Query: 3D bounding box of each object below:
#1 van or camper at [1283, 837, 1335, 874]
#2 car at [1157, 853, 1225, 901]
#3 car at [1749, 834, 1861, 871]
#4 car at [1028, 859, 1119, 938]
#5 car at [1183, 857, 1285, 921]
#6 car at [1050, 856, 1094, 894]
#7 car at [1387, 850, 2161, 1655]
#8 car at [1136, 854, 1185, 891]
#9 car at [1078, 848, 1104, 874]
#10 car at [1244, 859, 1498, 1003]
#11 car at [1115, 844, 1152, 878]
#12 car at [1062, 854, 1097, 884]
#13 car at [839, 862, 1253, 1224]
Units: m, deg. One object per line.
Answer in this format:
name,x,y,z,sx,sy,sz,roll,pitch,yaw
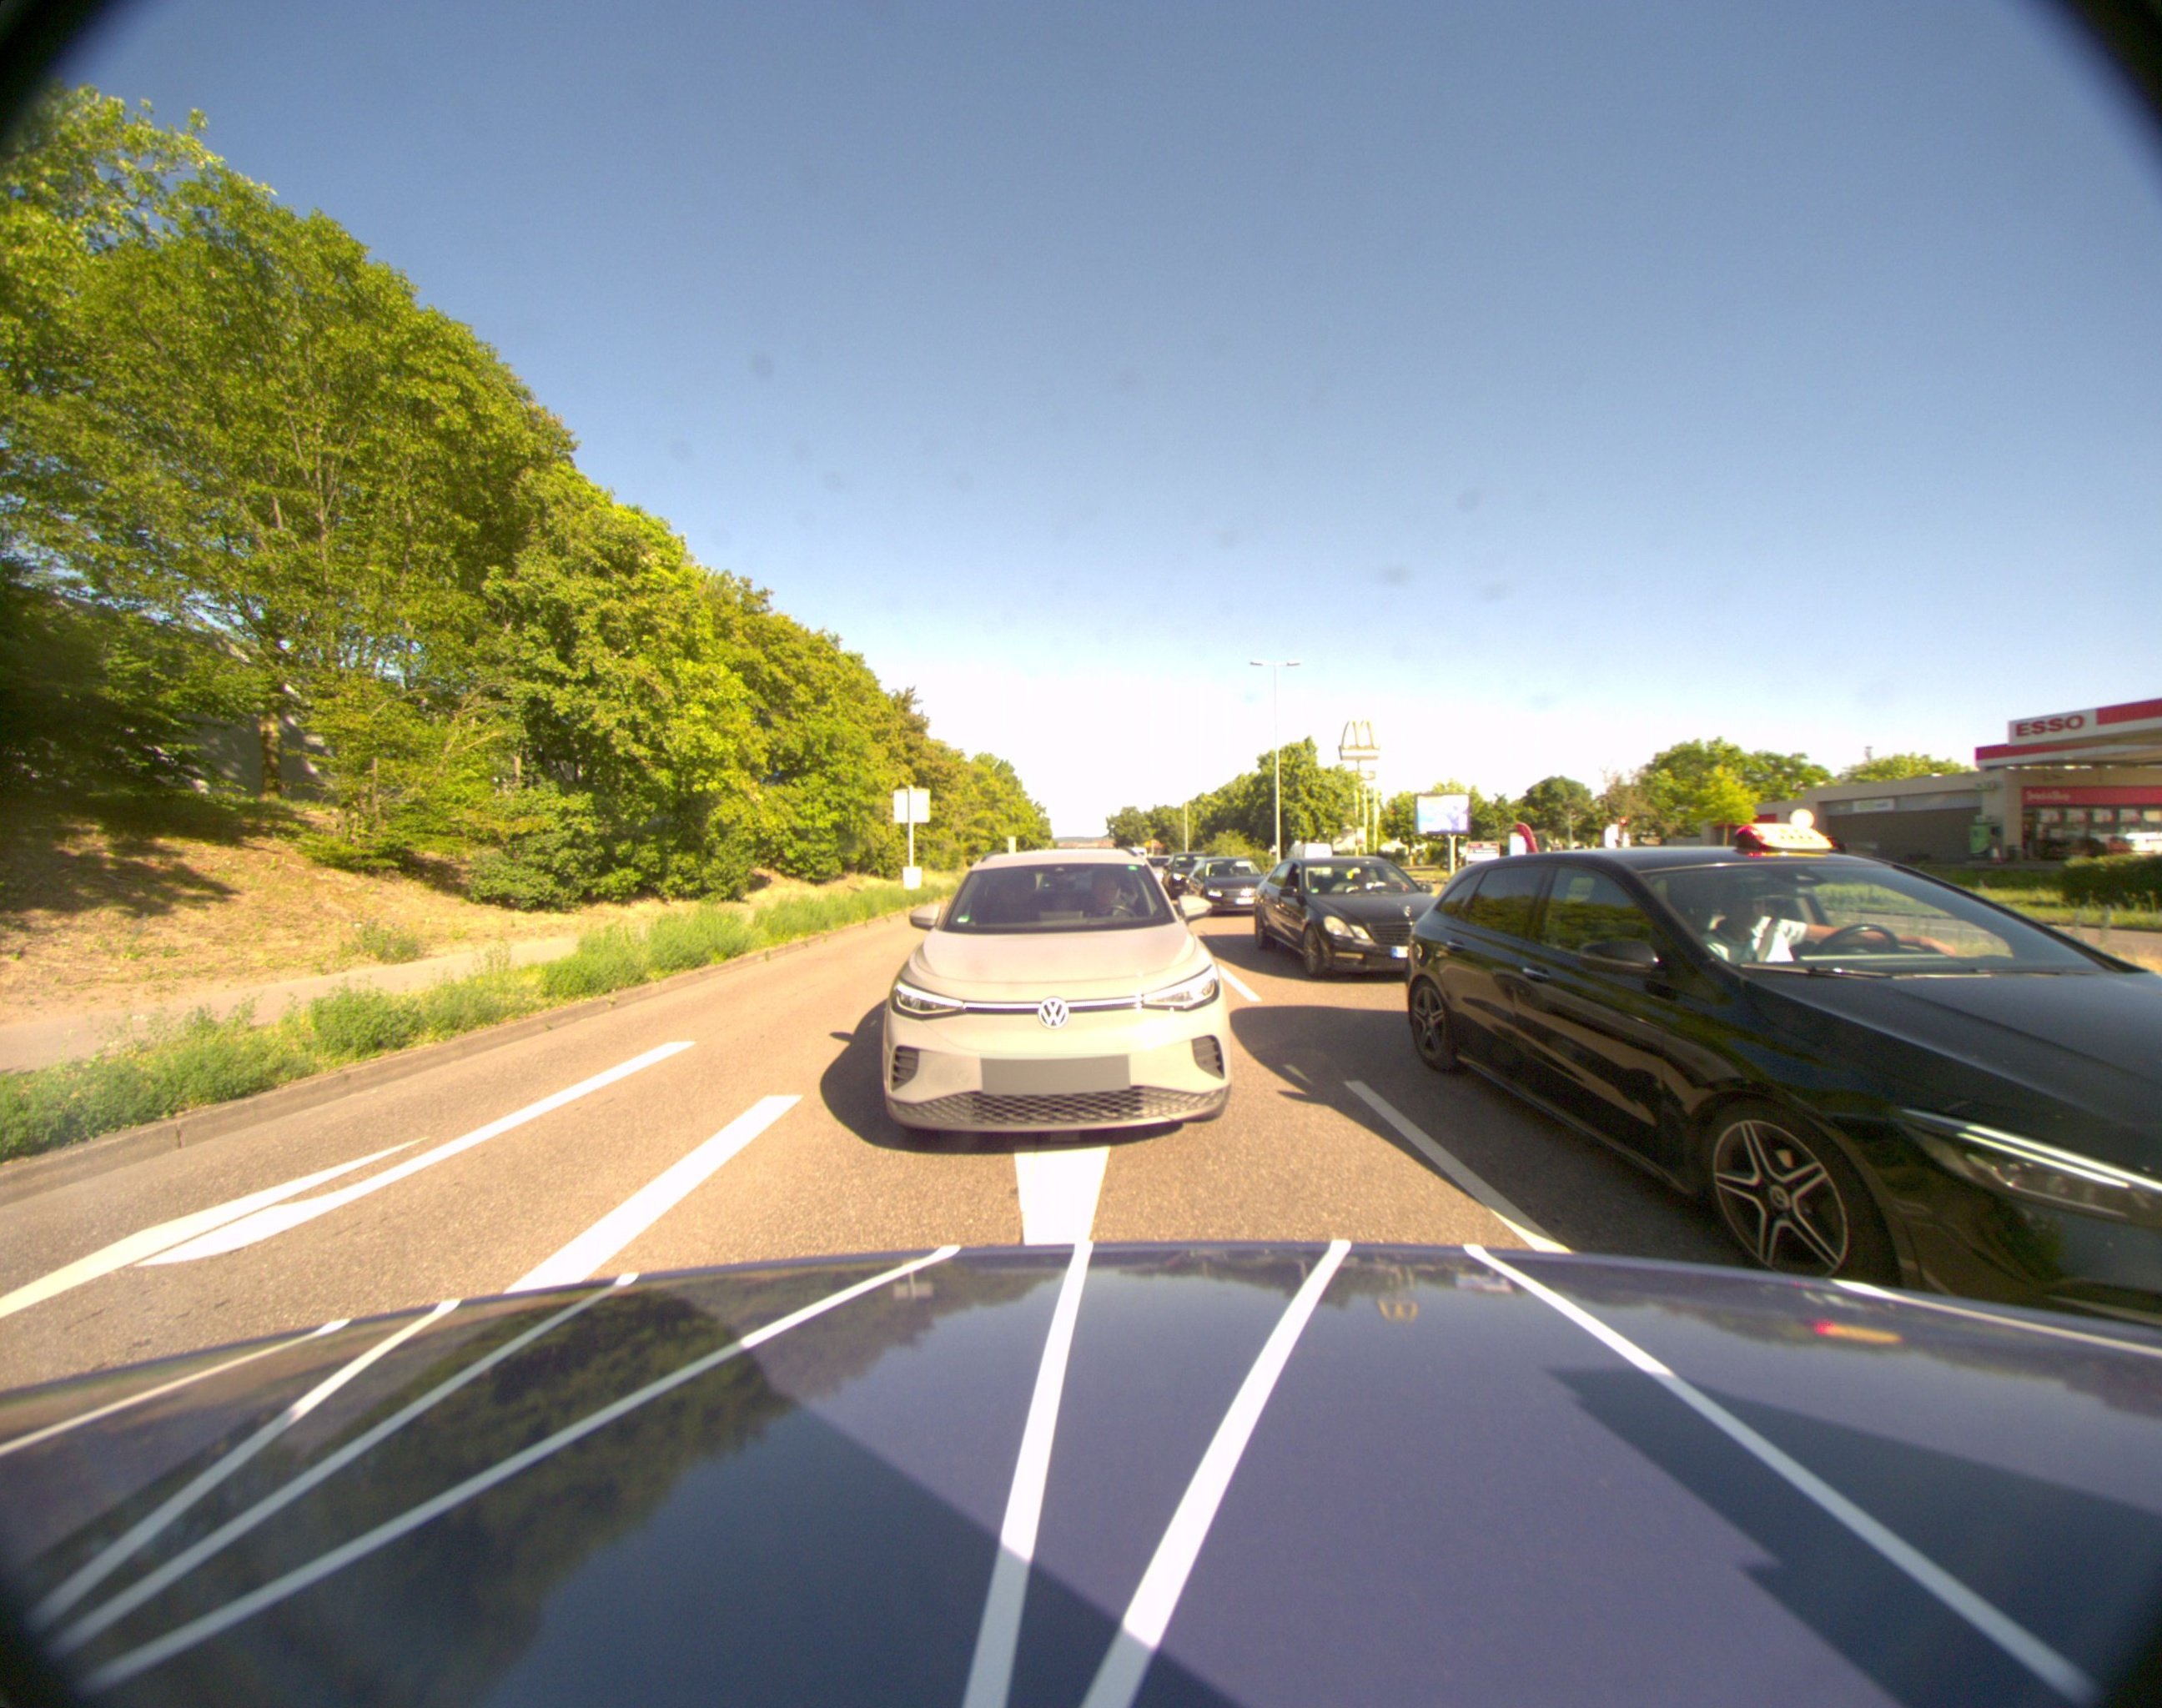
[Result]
van or camper,16.985,0.088,56.994,2.183,2.557,6.755,-1,0,3
car,3.891,0.779,27.647,1.862,1.578,4.403,-1,0,1
car,37.700,-0.081,39.730,1.998,1.759,4.118,-2,0,2
car,-0.116,0.901,16.968,1.765,1.503,3.760,-2,0,1
car,3.941,0.832,20.259,1.862,1.472,4.403,-1,0,1
car,-0.350,0.890,33.210,1.765,1.503,3.760,-2,0,1
car,3.151,0.811,3.592,1.804,1.616,4.188,-1,0,2
car,3.681,0.805,35.683,1.862,1.578,4.403,-1,0,1
car,0.917,0.650,70.922,2.289,2.274,5.381,-1,0,1
car,3.630,0.853,10.481,1.862,1.515,4.403,-1,0,1
car,3.728,0.491,54.799,2.289,2.274,5.381,-1,0,1
car,-0.040,0.751,40.925,1.765,1.503,3.760,-2,0,1
car,-0.136,0.901,5.487,1.871,1.588,3.932,-2,0,1
